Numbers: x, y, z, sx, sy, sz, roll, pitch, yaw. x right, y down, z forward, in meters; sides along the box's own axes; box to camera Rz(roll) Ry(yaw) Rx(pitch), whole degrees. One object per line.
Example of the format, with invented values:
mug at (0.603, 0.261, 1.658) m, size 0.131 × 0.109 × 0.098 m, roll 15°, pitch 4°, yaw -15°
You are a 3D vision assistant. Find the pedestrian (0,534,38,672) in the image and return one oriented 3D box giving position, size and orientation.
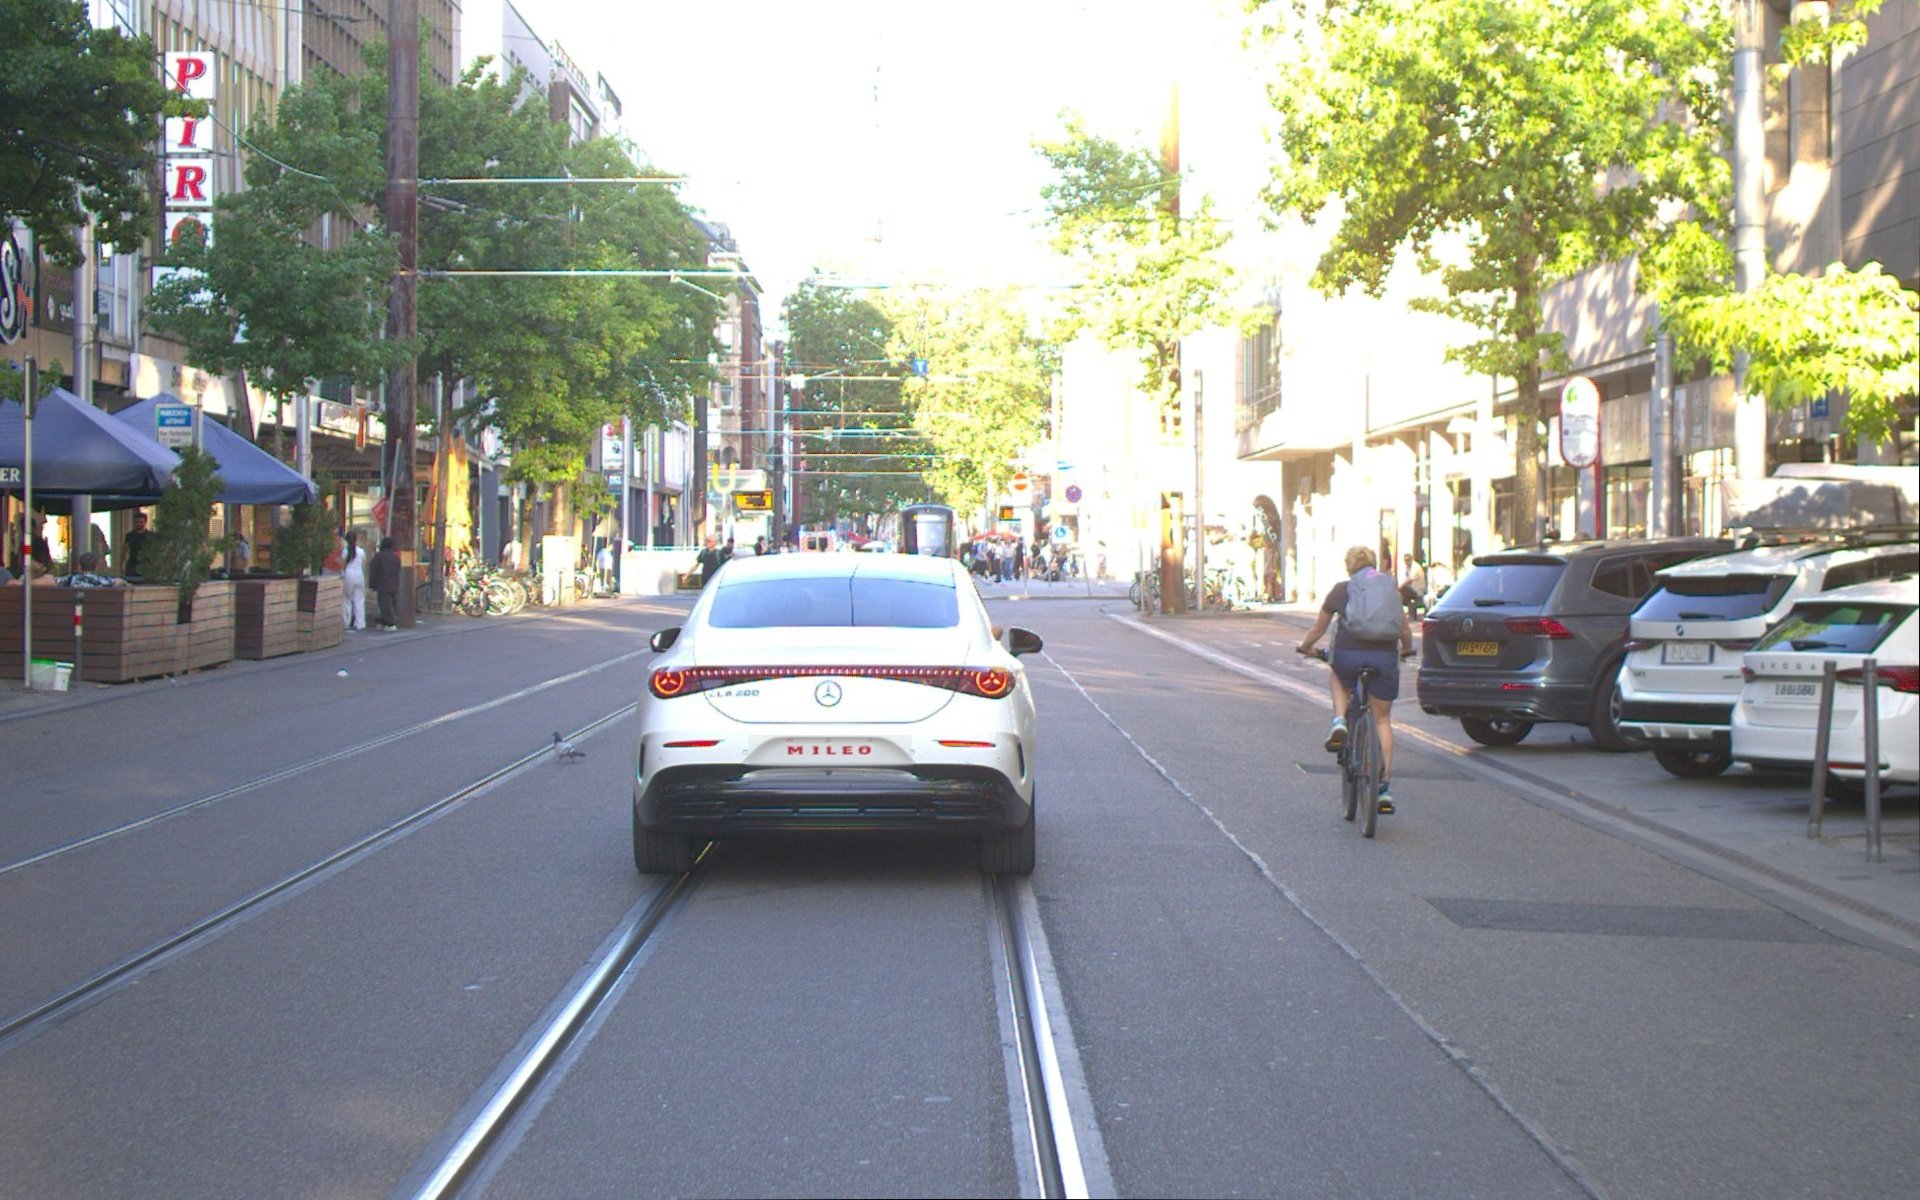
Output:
pedestrian at (-10.003, 0.024, 35.967) m, size 0.549 × 1.424 × 0.583 m, roll 1°, pitch 1°, yaw -1°

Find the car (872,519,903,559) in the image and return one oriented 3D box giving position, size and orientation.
car at (-5.215, -4.390, 248.933) m, size 2.099 × 2.887 × 5.275 m, roll 0°, pitch 1°, yaw 0°

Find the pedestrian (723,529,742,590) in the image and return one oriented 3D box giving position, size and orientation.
pedestrian at (-7.113, -1.268, 107.532) m, size 0.571 × 1.922 × 0.541 m, roll 0°, pitch 1°, yaw -4°

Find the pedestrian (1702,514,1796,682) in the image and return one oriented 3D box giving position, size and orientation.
pedestrian at (8.255, -0.023, 35.974) m, size 0.689 × 1.725 × 0.631 m, roll -1°, pitch 1°, yaw 42°

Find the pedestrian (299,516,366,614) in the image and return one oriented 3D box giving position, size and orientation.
pedestrian at (-11.329, -0.636, 62.078) m, size 0.850 × 1.735 × 0.834 m, roll 2°, pitch 1°, yaw 20°

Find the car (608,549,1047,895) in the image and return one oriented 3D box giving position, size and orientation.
car at (-0.578, 0.488, 16.661) m, size 1.857 × 1.450 × 4.175 m, roll 0°, pitch 1°, yaw 0°

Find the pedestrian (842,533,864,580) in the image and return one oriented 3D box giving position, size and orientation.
pedestrian at (-4.094, -1.661, 131.851) m, size 0.800 × 1.776 × 0.849 m, roll 2°, pitch 1°, yaw -1°

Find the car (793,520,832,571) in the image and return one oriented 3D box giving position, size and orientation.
car at (-8.500, -3.157, 198.083) m, size 1.993 × 2.887 × 5.275 m, roll 0°, pitch 1°, yaw 0°

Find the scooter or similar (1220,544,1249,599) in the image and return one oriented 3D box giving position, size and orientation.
scooter or similar at (6.519, -0.673, 81.565) m, size 0.491 × 1.273 × 0.660 m, roll -2°, pitch 1°, yaw -11°

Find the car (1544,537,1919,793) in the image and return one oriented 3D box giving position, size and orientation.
car at (6.381, 0.378, 24.198) m, size 4.235 × 1.582 × 1.884 m, roll -3°, pitch 1°, yaw -31°

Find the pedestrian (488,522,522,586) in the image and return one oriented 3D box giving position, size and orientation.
pedestrian at (-12.541, -1.274, 94.771) m, size 0.785 × 1.760 × 0.537 m, roll 0°, pitch 1°, yaw -24°

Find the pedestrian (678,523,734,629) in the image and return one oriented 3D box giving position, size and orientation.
pedestrian at (-4.400, -0.419, 59.616) m, size 0.841 × 1.795 × 0.790 m, roll 2°, pitch 1°, yaw 1°

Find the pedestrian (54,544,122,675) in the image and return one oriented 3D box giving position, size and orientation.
pedestrian at (-9.106, 0.092, 35.915) m, size 0.549 × 1.352 × 0.583 m, roll 1°, pitch 1°, yaw -1°

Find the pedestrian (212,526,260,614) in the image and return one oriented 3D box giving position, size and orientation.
pedestrian at (-12.853, -0.537, 61.022) m, size 0.622 × 1.520 × 0.809 m, roll 3°, pitch 1°, yaw 0°

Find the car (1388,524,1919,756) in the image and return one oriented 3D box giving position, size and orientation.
car at (5.757, 0.277, 28.015) m, size 4.342 × 1.646 × 1.694 m, roll -3°, pitch 1°, yaw -31°

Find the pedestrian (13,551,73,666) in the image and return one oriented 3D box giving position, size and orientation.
pedestrian at (-9.942, 0.086, 37.280) m, size 0.494 × 1.223 × 0.535 m, roll 1°, pitch 1°, yaw -1°

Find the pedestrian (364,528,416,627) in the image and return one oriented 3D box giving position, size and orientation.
pedestrian at (-9.183, -0.367, 55.398) m, size 0.622 × 1.545 × 0.852 m, roll 3°, pitch 1°, yaw 0°

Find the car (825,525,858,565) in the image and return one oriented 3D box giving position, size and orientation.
car at (-7.470, -3.478, 216.901) m, size 1.910 × 2.452 × 5.275 m, roll 0°, pitch 1°, yaw 0°

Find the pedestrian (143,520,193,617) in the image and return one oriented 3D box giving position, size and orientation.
pedestrian at (-12.738, -0.508, 55.291) m, size 0.597 × 1.527 × 0.671 m, roll 2°, pitch 1°, yaw 0°

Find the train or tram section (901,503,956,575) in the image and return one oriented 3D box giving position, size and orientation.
train or tram section at (-1.556, -3.058, 172.029) m, size 2.694 × 3.504 × 11.144 m, roll 0°, pitch 1°, yaw 0°

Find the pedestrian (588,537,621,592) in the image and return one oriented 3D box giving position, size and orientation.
pedestrian at (-10.915, -1.095, 105.552) m, size 0.905 × 1.693 × 0.849 m, roll 0°, pitch 1°, yaw 1°

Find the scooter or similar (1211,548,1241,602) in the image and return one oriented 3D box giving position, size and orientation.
scooter or similar at (6.367, -0.593, 82.361) m, size 0.527 × 1.273 × 0.660 m, roll -2°, pitch 1°, yaw -11°

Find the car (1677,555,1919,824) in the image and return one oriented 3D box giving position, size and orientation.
car at (6.690, 0.451, 21.305) m, size 4.145 × 1.494 × 1.689 m, roll -2°, pitch 1°, yaw -24°

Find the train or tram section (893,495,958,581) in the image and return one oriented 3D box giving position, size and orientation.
train or tram section at (-1.451, -2.653, 147.636) m, size 2.694 × 3.504 × 12.546 m, roll 0°, pitch 1°, yaw 0°

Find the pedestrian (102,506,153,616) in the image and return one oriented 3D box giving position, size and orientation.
pedestrian at (-13.385, -0.631, 55.288) m, size 0.597 × 1.739 × 0.671 m, roll 2°, pitch 1°, yaw 0°

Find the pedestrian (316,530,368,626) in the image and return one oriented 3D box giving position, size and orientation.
pedestrian at (-9.932, -0.364, 55.276) m, size 0.622 × 1.504 × 0.833 m, roll 3°, pitch 1°, yaw 0°

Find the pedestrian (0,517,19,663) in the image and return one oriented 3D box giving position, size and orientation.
pedestrian at (-10.877, -0.122, 38.130) m, size 0.673 × 1.601 × 0.720 m, roll 1°, pitch 1°, yaw -1°

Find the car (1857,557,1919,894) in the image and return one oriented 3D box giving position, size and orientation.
car at (6.529, 0.511, 16.700) m, size 4.147 × 1.566 × 1.854 m, roll -3°, pitch 2°, yaw -33°

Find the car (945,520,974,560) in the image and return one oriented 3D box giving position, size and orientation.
car at (-0.018, -4.341, 249.236) m, size 2.099 × 2.887 × 5.285 m, roll 0°, pitch 1°, yaw 0°

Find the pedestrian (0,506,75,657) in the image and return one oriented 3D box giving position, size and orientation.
pedestrian at (-10.733, -0.220, 39.943) m, size 0.717 × 1.719 × 0.675 m, roll 1°, pitch 1°, yaw -1°

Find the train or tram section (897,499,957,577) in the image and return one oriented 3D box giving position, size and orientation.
train or tram section at (-1.501, -2.864, 160.188) m, size 2.694 × 3.504 × 12.546 m, roll 0°, pitch 1°, yaw 0°
